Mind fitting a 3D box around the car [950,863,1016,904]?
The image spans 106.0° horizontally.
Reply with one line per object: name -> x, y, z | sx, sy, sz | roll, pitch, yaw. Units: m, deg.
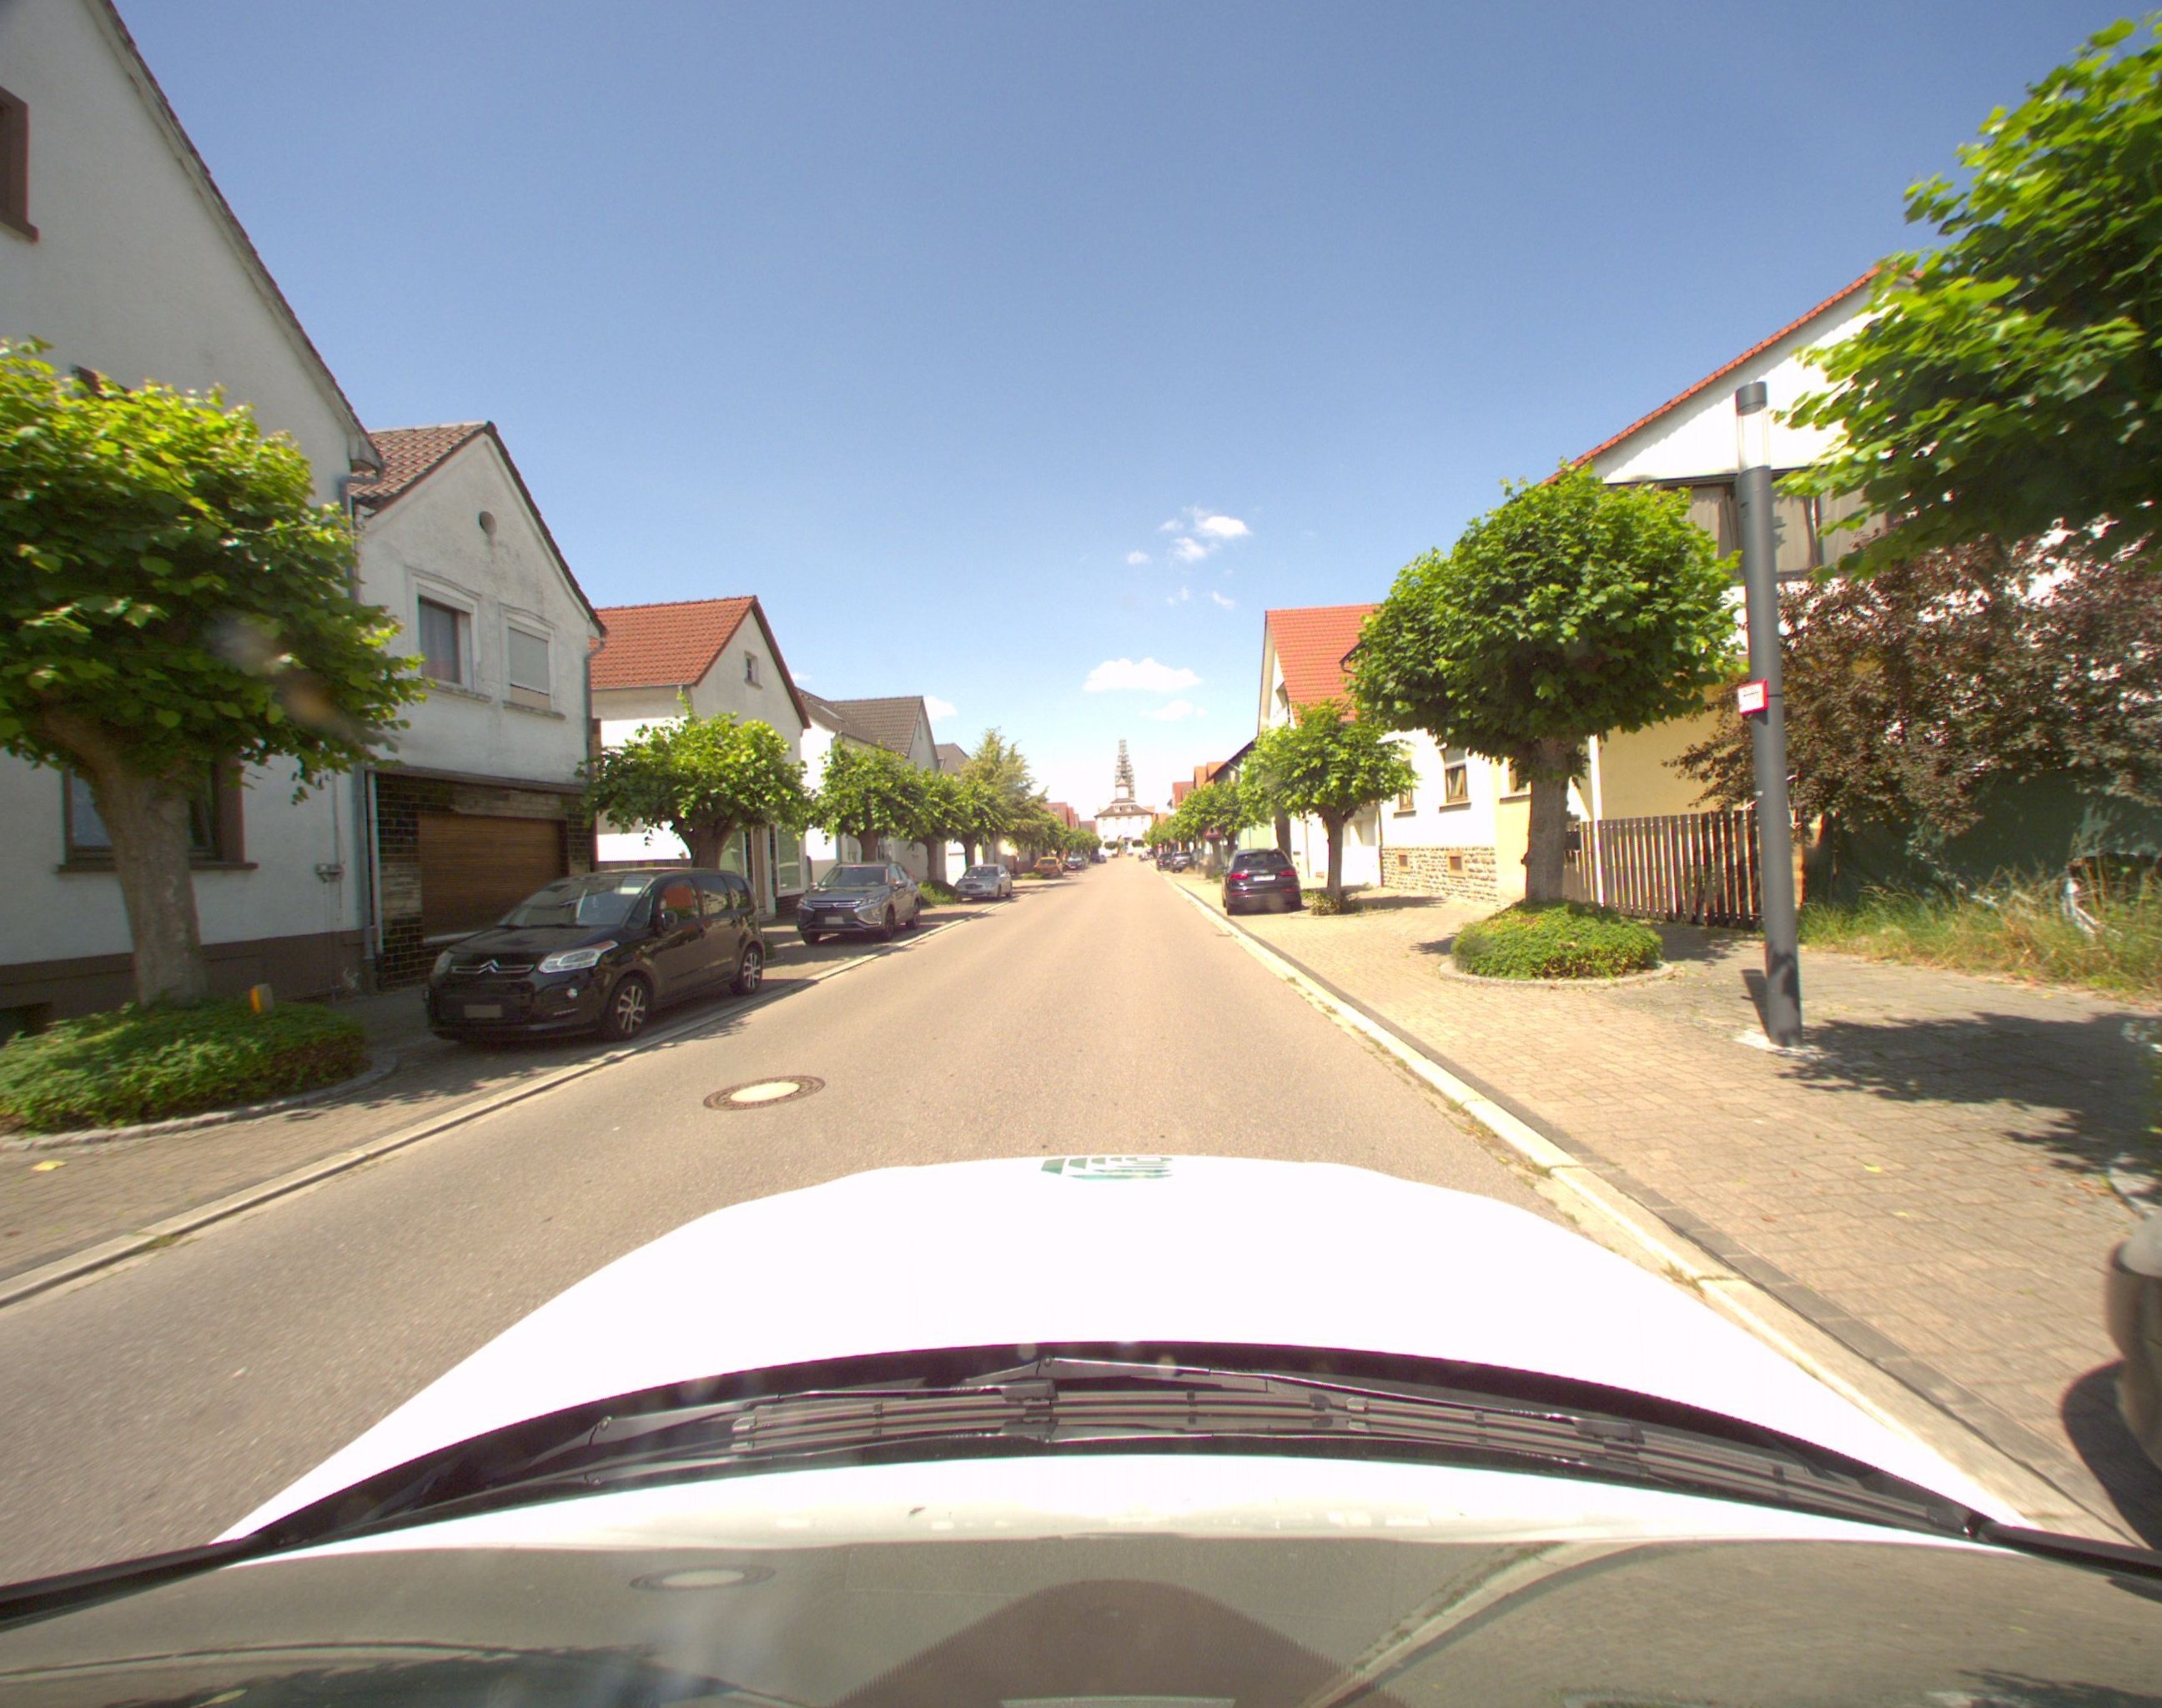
car -> -3.820, 1.122, 32.481 | 1.833, 1.396, 4.410 | -2, 0, 3

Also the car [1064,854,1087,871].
car -> -0.524, 0.814, 83.618 | 1.984, 1.611, 4.695 | -1, 1, 4

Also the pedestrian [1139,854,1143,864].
pedestrian -> 8.736, 0.737, 118.450 | 0.354, 1.403, 0.322 | -3, -1, 40

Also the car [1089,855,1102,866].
car -> 2.210, 1.013, 126.558 | 1.750, 1.555, 4.024 | -3, 0, 4

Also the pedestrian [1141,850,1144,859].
pedestrian -> 8.857, 0.080, 117.455 | 0.354, 1.403, 0.322 | -3, -1, 40

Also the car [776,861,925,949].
car -> -4.896, 1.011, 18.007 | 1.987, 1.652, 4.367 | -1, 0, 0

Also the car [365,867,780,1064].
car -> -5.098, 0.985, 8.975 | 1.845, 1.635, 4.060 | -1, -1, 3

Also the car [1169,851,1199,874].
car -> 7.689, 0.592, 61.290 | 1.830, 1.607, 4.002 | -2, 0, 2

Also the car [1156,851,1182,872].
car -> 7.404, 0.596, 68.965 | 1.830, 1.555, 4.317 | -4, 0, 3

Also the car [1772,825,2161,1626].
car -> 2.782, 0.653, 0.221 | 1.816, 1.432, 4.060 | -5, 0, 3

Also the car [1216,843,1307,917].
car -> 4.513, 0.583, 20.910 | 1.814, 1.586, 4.065 | -4, 0, 7

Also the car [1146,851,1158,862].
car -> 11.459, 0.401, 131.763 | 1.829, 1.555, 4.318 | -4, 0, 4

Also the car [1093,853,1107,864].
car -> 3.070, 0.753, 132.271 | 1.984, 1.611, 3.859 | -1, -1, 4

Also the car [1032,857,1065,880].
car -> -2.436, 1.078, 62.143 | 1.984, 1.611, 4.695 | -1, 0, 4
